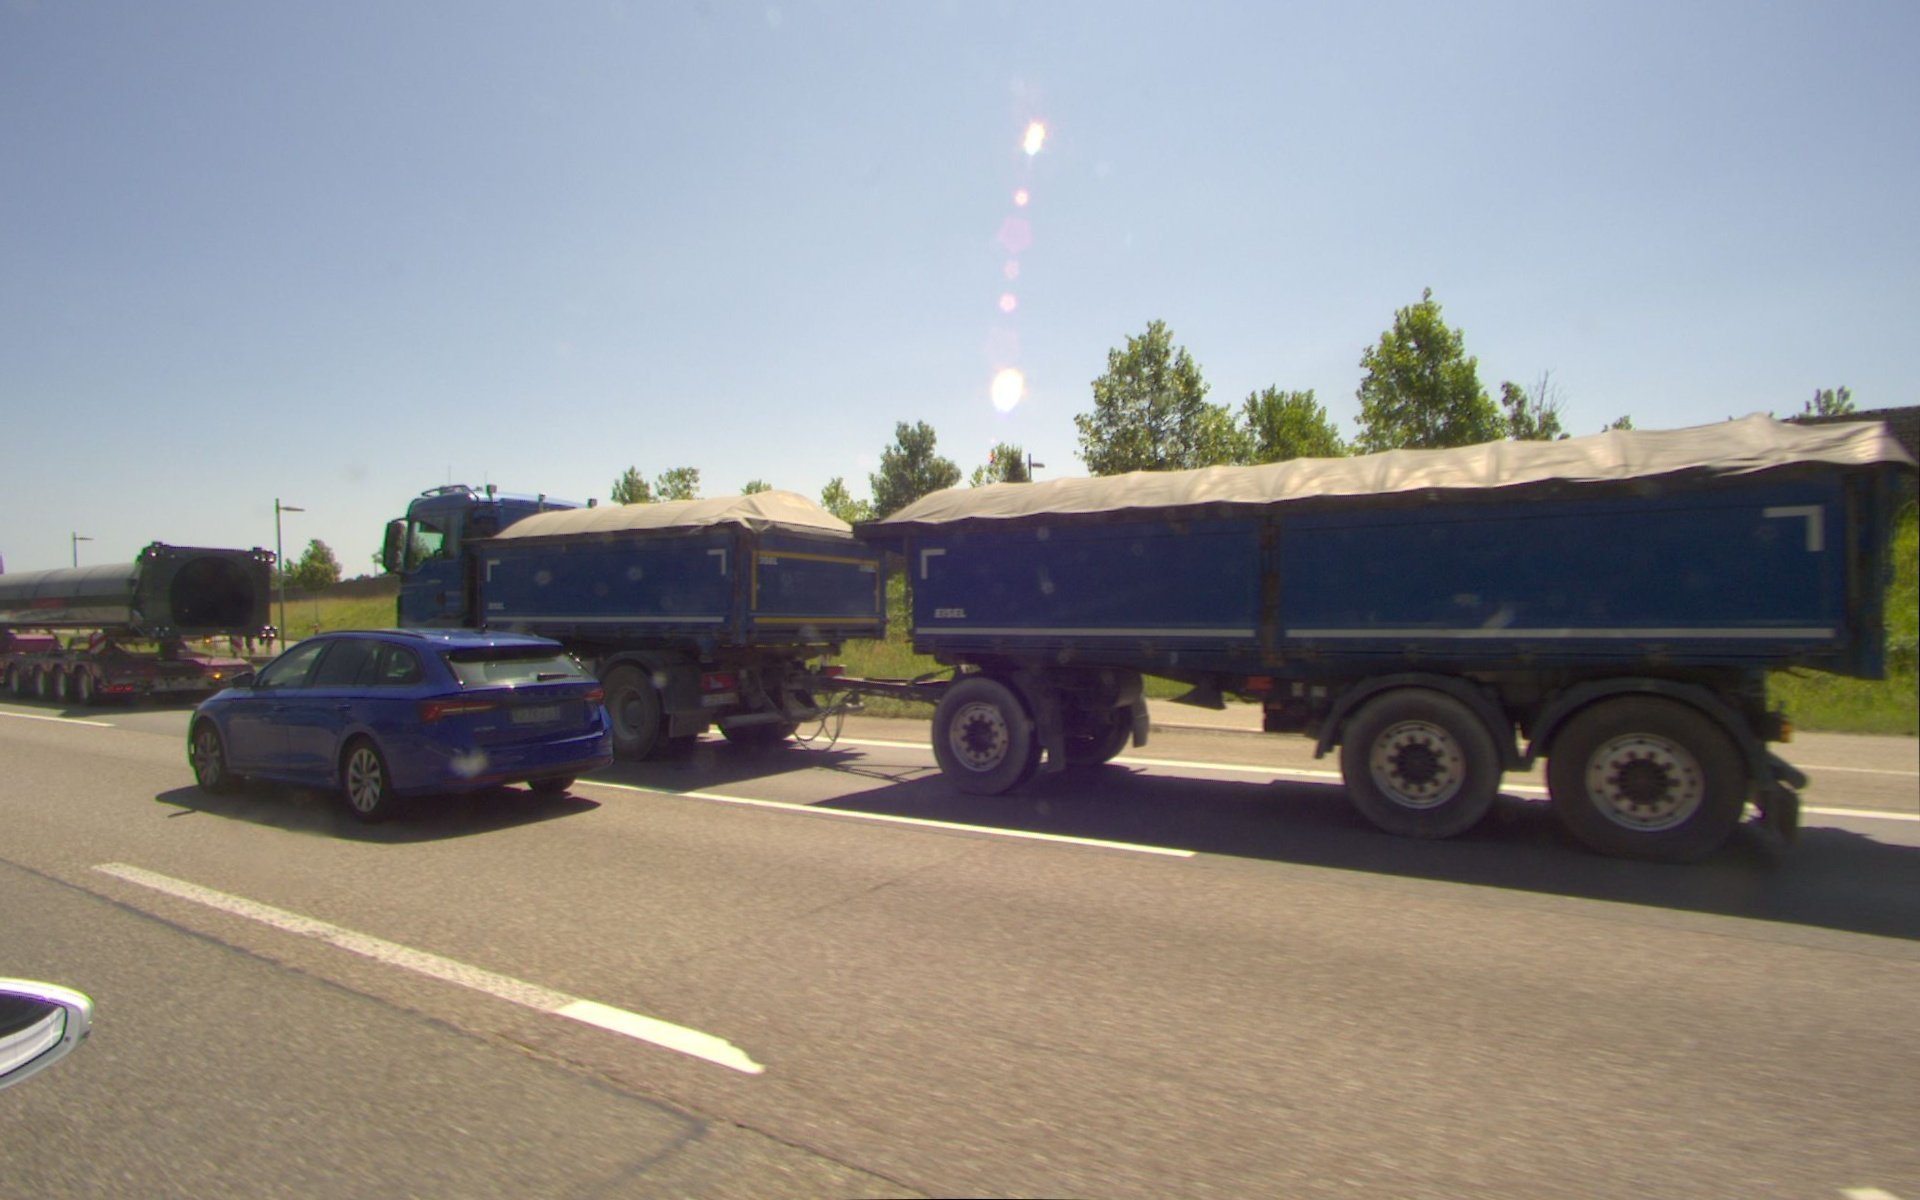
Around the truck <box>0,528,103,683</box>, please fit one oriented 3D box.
[{"bbox_3d":[-28.475,0.265,29.151,7.424,4.146,3.617,-2,-2,35],"label":"truck"}]

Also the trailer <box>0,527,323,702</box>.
[{"bbox_3d":[-20.651,0.528,23.725,15.559,3.118,3.638,-2,-2,35],"label":"trailer"}]

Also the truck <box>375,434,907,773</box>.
[{"bbox_3d":[-4.330,0.114,12.986,7.031,3.354,2.739,-1,-1,33],"label":"truck"}]

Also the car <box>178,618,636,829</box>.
[{"bbox_3d":[-4.992,0.941,8.844,4.366,1.459,1.703,-2,-2,33],"label":"car"}]

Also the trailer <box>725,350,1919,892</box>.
[{"bbox_3d":[2.130,0.210,8.832,8.986,2.873,2.739,-1,-2,33],"label":"trailer"}]
